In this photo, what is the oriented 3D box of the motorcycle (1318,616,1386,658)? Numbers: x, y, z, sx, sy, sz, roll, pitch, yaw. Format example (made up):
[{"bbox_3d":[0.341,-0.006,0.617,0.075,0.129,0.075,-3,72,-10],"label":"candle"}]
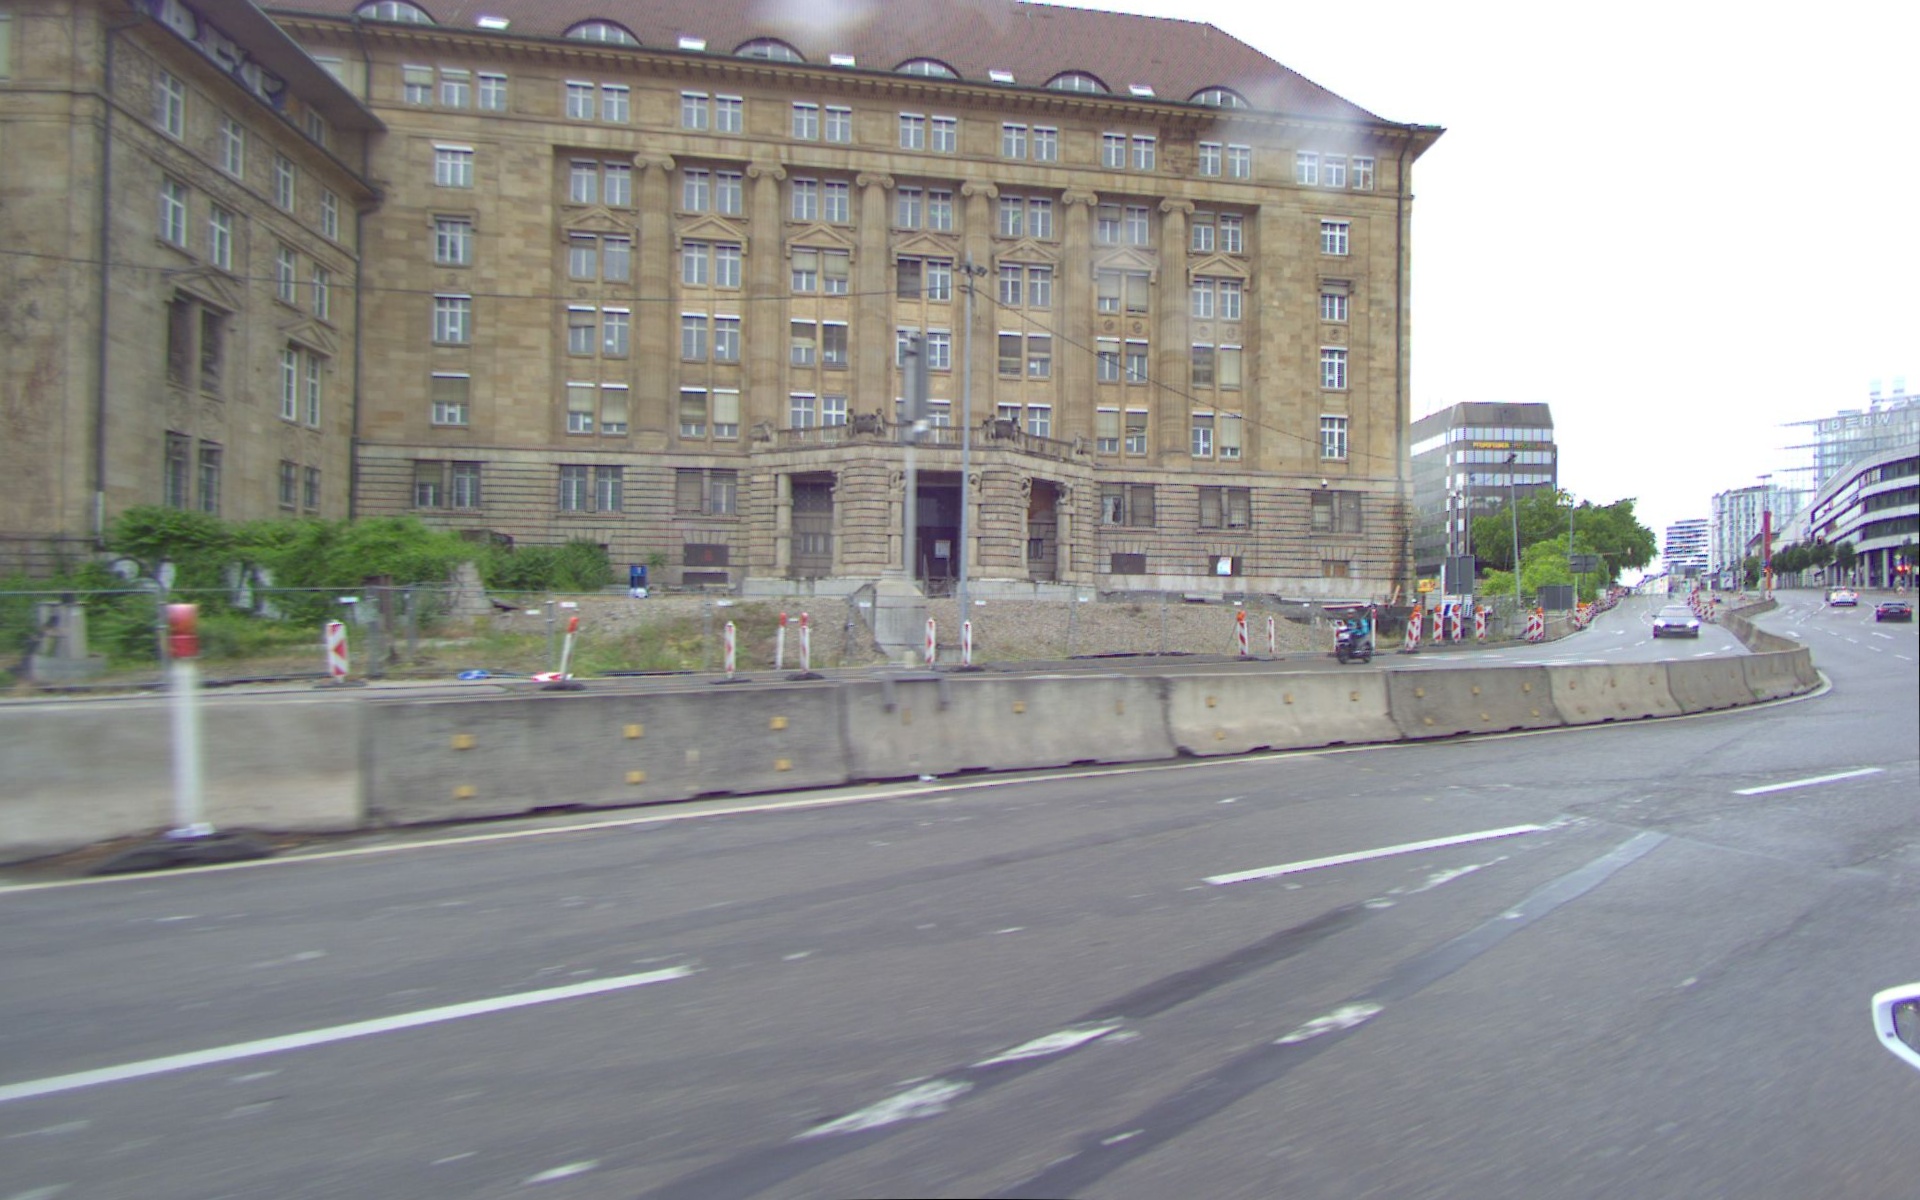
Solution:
[{"bbox_3d":[11.680,1.080,29.889,2.133,1.164,0.863,-1,0,-36],"label":"motorcycle"}]

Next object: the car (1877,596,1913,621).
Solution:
[{"bbox_3d":[62.876,0.580,67.515,1.657,1.527,3.722,-1,-3,45],"label":"car"}]

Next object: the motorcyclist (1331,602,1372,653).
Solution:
[{"bbox_3d":[11.619,0.803,29.822,0.817,1.470,0.792,-1,0,-36],"label":"motorcyclist"}]

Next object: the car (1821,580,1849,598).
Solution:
[{"bbox_3d":[78.953,-0.999,90.709,1.720,1.526,3.738,-1,-1,39],"label":"car"}]

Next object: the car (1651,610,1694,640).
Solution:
[{"bbox_3d":[34.590,1.232,48.832,1.580,1.369,3.744,0,-3,33],"label":"car"}]

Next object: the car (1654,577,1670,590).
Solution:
[{"bbox_3d":[91.676,-2.157,131.135,1.582,1.369,3.740,0,-3,37],"label":"car"}]

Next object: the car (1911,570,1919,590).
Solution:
[{"bbox_3d":[93.218,-1.948,96.986,1.973,1.828,4.238,-1,0,45],"label":"car"}]
